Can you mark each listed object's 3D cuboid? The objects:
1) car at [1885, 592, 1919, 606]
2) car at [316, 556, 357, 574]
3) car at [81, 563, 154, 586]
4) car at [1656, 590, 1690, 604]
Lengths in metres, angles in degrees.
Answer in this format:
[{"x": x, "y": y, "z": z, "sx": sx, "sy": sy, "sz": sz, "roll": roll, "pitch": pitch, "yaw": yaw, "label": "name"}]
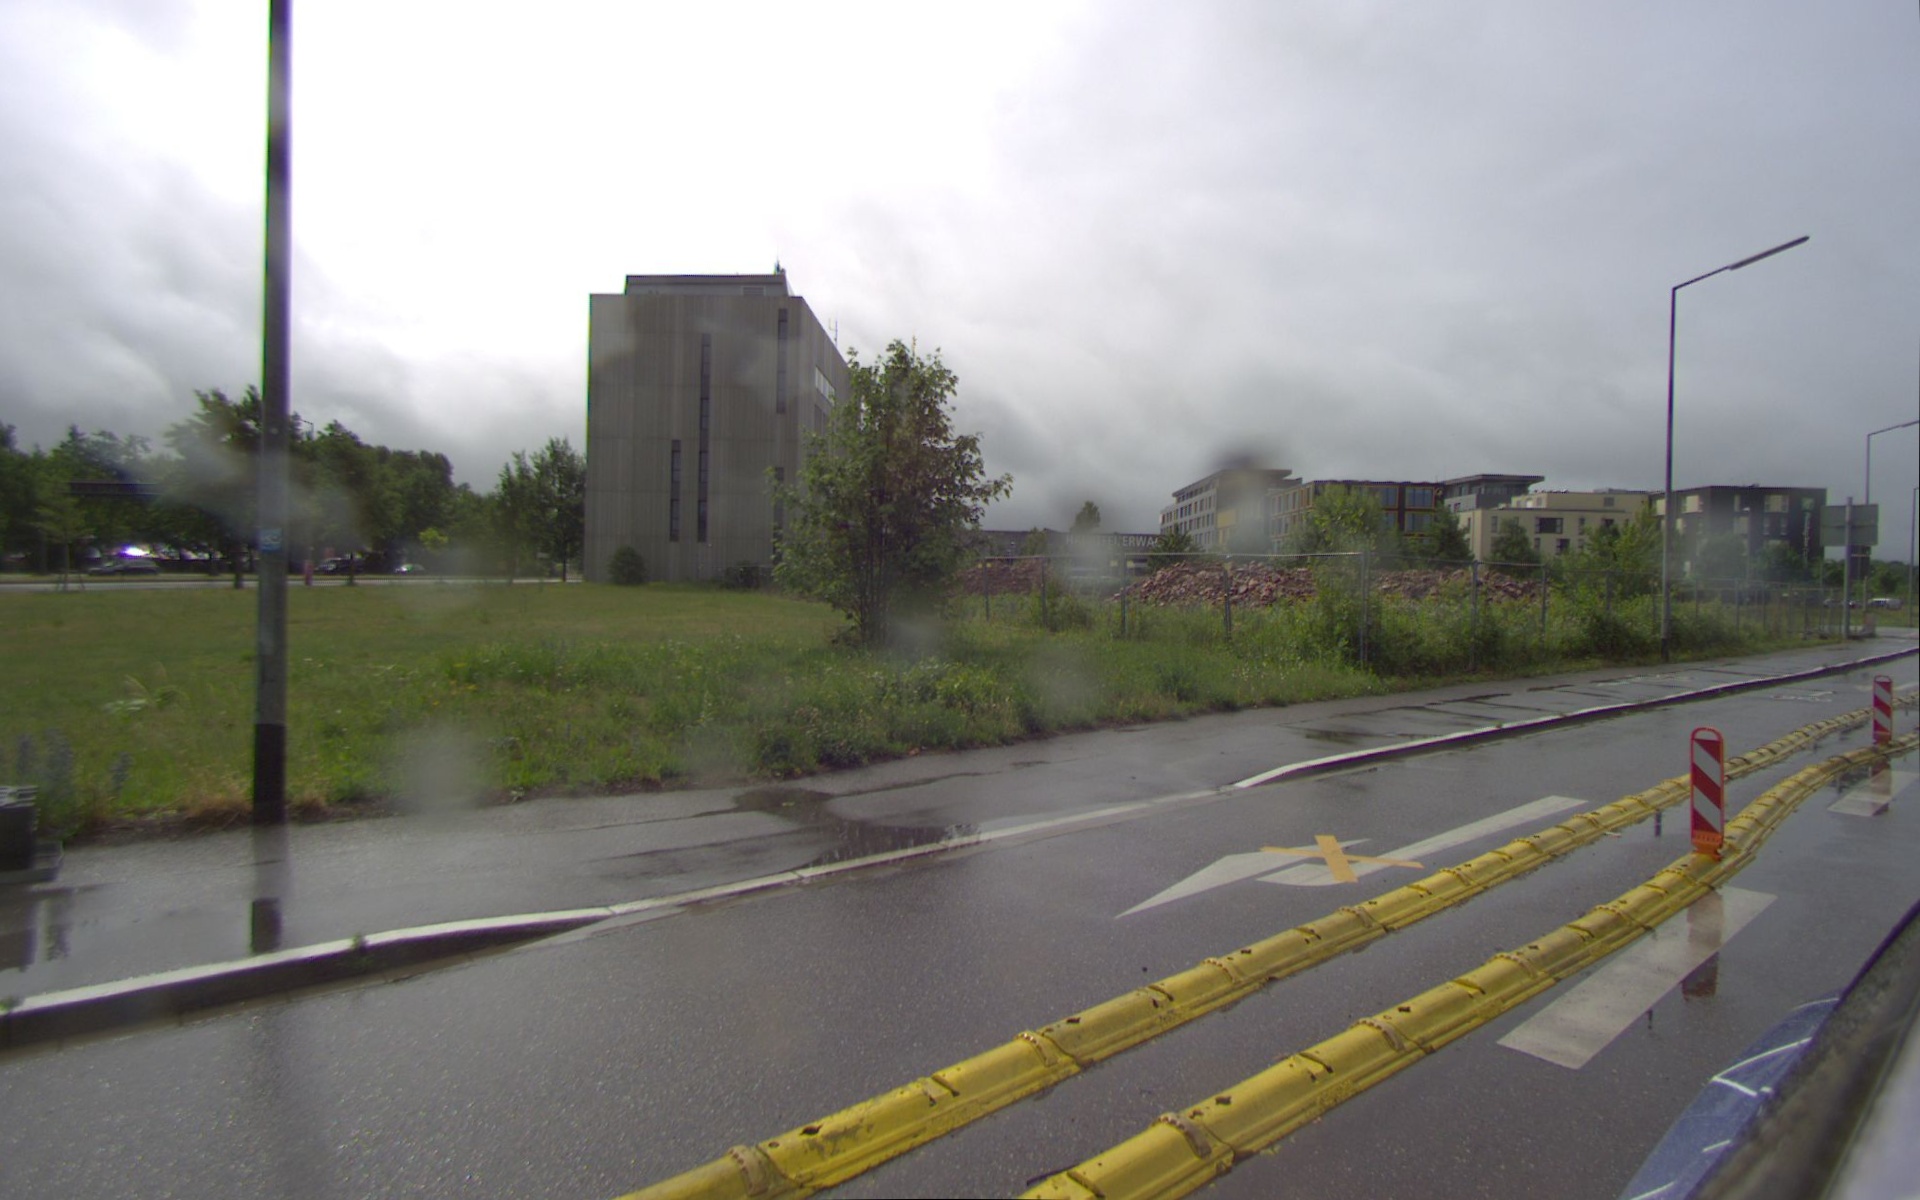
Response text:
[{"x": 137.660, "y": -0.119, "z": 147.389, "sx": 3.930, "sy": 2.039, "sz": 1.997, "roll": 1, "pitch": 1, "yaw": 6, "label": "car"}, {"x": -58.713, "y": -3.303, "z": 95.348, "sx": 1.515, "sy": 1.578, "sz": 3.521, "roll": 1, "pitch": 1, "yaw": 3, "label": "car"}, {"x": -59.940, "y": -1.819, "z": 72.084, "sx": 1.515, "sy": 1.578, "sz": 4.232, "roll": 1, "pitch": 1, "yaw": 3, "label": "car"}, {"x": 88.419, "y": -0.353, "z": 125.501, "sx": 3.591, "sy": 1.603, "sz": 1.652, "roll": 1, "pitch": 1, "yaw": -17, "label": "car"}]
